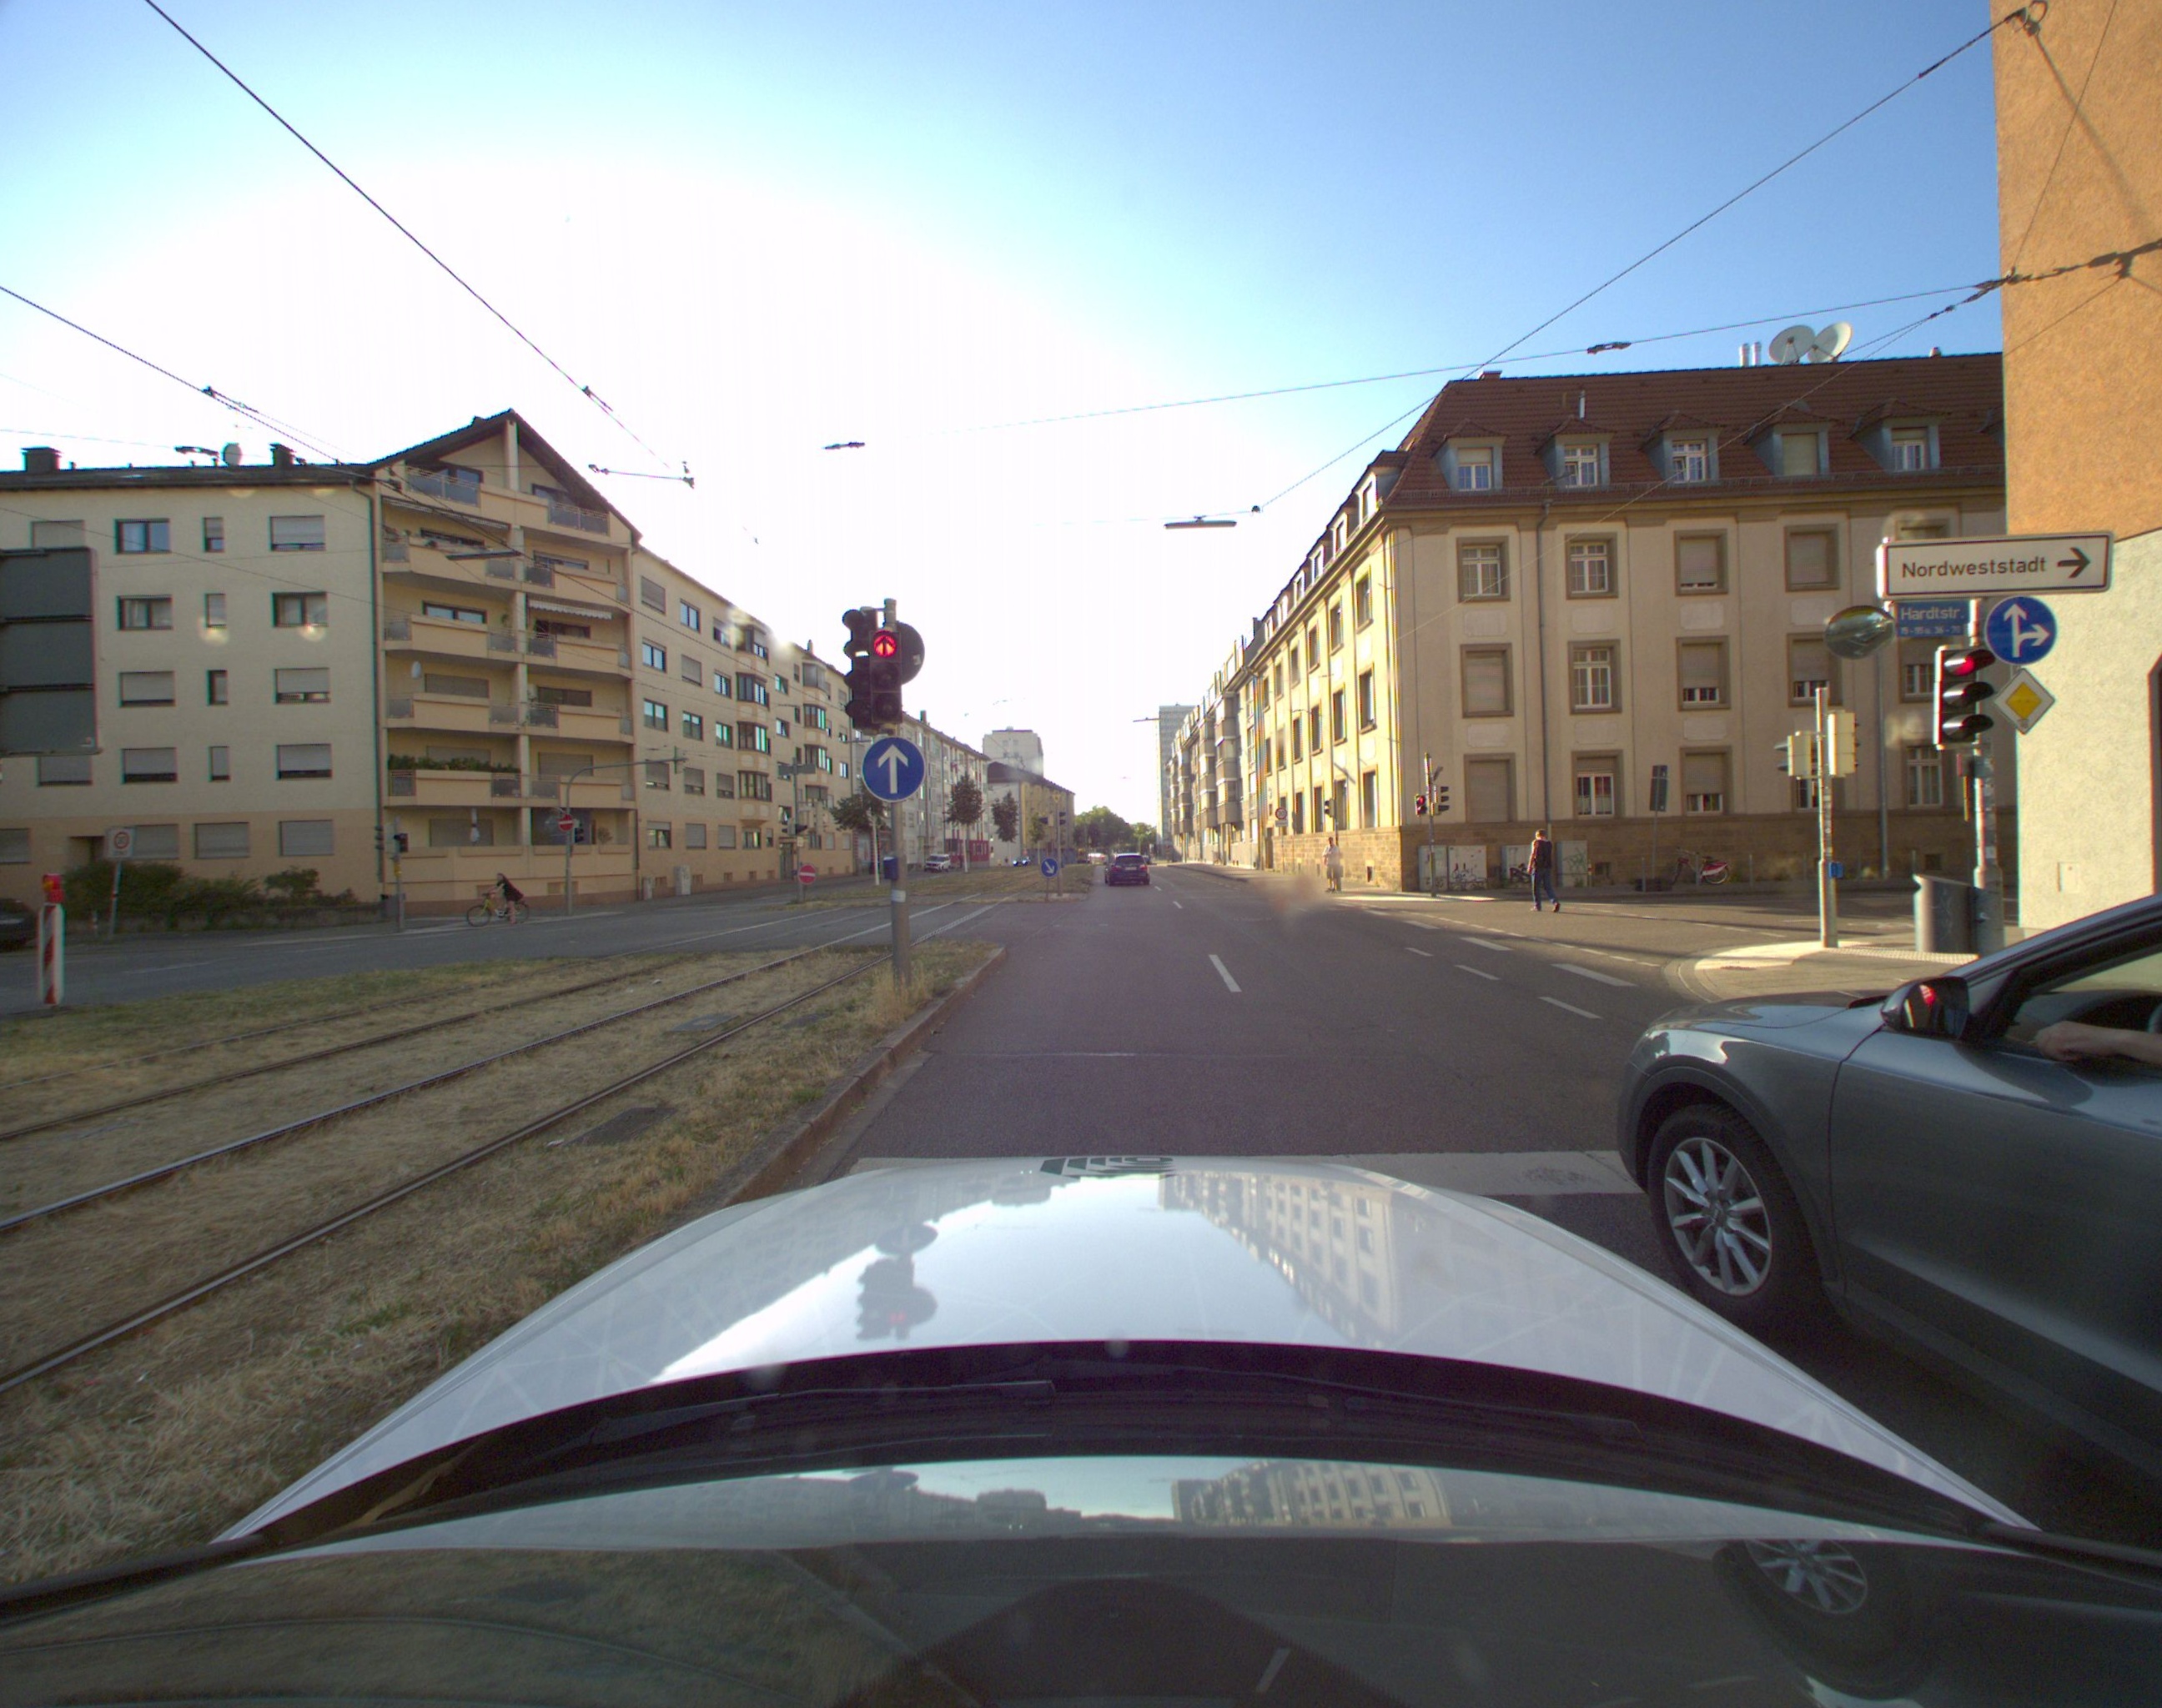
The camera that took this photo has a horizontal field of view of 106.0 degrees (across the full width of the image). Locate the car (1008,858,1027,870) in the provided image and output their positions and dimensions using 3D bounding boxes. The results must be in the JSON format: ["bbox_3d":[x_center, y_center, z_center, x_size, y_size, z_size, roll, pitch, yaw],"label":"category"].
[{"bbox_3d":[-9.052,1.397,117.050,1.888,1.633,4.754,-2,0,5],"label":"car"}]

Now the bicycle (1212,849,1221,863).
[{"bbox_3d":[10.274,0.153,61.936,0.382,1.096,1.503,-2,-1,0],"label":"bicycle"}]

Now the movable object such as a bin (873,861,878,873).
[{"bbox_3d":[-17.467,1.102,69.323,0.297,1.036,0.441,0,-1,1],"label":"movable object such as a bin"}]

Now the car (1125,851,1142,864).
[{"bbox_3d":[6.401,0.451,99.634,1.985,1.564,4.003,0,-1,3],"label":"car"}]

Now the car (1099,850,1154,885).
[{"bbox_3d":[1.994,0.594,36.745,1.923,1.456,4.320,0,0,-5],"label":"car"}]

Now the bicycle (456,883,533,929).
[{"bbox_3d":[-18.180,1.586,25.297,0.450,1.257,1.883,-1,1,34],"label":"bicycle"}]

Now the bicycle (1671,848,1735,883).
[{"bbox_3d":[18.308,0.330,23.980,1.491,1.018,0.251,-1,-1,17],"label":"bicycle"}]

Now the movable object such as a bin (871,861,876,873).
[{"bbox_3d":[-17.544,1.110,68.783,0.297,1.036,0.442,0,-1,2],"label":"movable object such as a bin"}]

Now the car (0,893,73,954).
[{"bbox_3d":[-30.097,1.918,21.516,3.983,1.442,1.996,-2,2,-7],"label":"car"}]

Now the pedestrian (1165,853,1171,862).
[{"bbox_3d":[12.004,0.496,112.350,0.689,1.234,0.736,0,-1,1],"label":"pedestrian"}]

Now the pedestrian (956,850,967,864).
[{"bbox_3d":[-14.581,0.372,99.438,1.268,1.761,1.271,0,-1,-8],"label":"pedestrian"}]

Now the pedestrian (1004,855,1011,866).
[{"bbox_3d":[-11.338,1.053,125.847,0.957,1.670,1.013,-1,-1,7],"label":"pedestrian"}]

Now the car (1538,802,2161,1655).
[{"bbox_3d":[2.810,0.678,1.488,1.691,1.552,4.227,0,0,2],"label":"car"}]

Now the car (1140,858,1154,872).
[{"bbox_3d":[10.364,1.694,128.158,1.986,2.013,4.002,-2,0,2],"label":"car"}]

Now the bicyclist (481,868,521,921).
[{"bbox_3d":[-18.119,1.260,25.443,0.620,1.586,0.814,-1,0,35],"label":"bicyclist"}]

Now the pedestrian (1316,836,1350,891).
[{"bbox_3d":[8.117,0.302,26.286,0.832,1.762,0.824,0,-1,1],"label":"pedestrian"}]

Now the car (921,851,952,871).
[{"bbox_3d":[-14.541,0.703,82.130,1.984,1.925,4.548,0,-1,5],"label":"car"}]

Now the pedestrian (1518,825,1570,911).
[{"bbox_3d":[9.773,0.292,17.229,0.627,1.758,0.826,0,-1,1],"label":"pedestrian"}]
